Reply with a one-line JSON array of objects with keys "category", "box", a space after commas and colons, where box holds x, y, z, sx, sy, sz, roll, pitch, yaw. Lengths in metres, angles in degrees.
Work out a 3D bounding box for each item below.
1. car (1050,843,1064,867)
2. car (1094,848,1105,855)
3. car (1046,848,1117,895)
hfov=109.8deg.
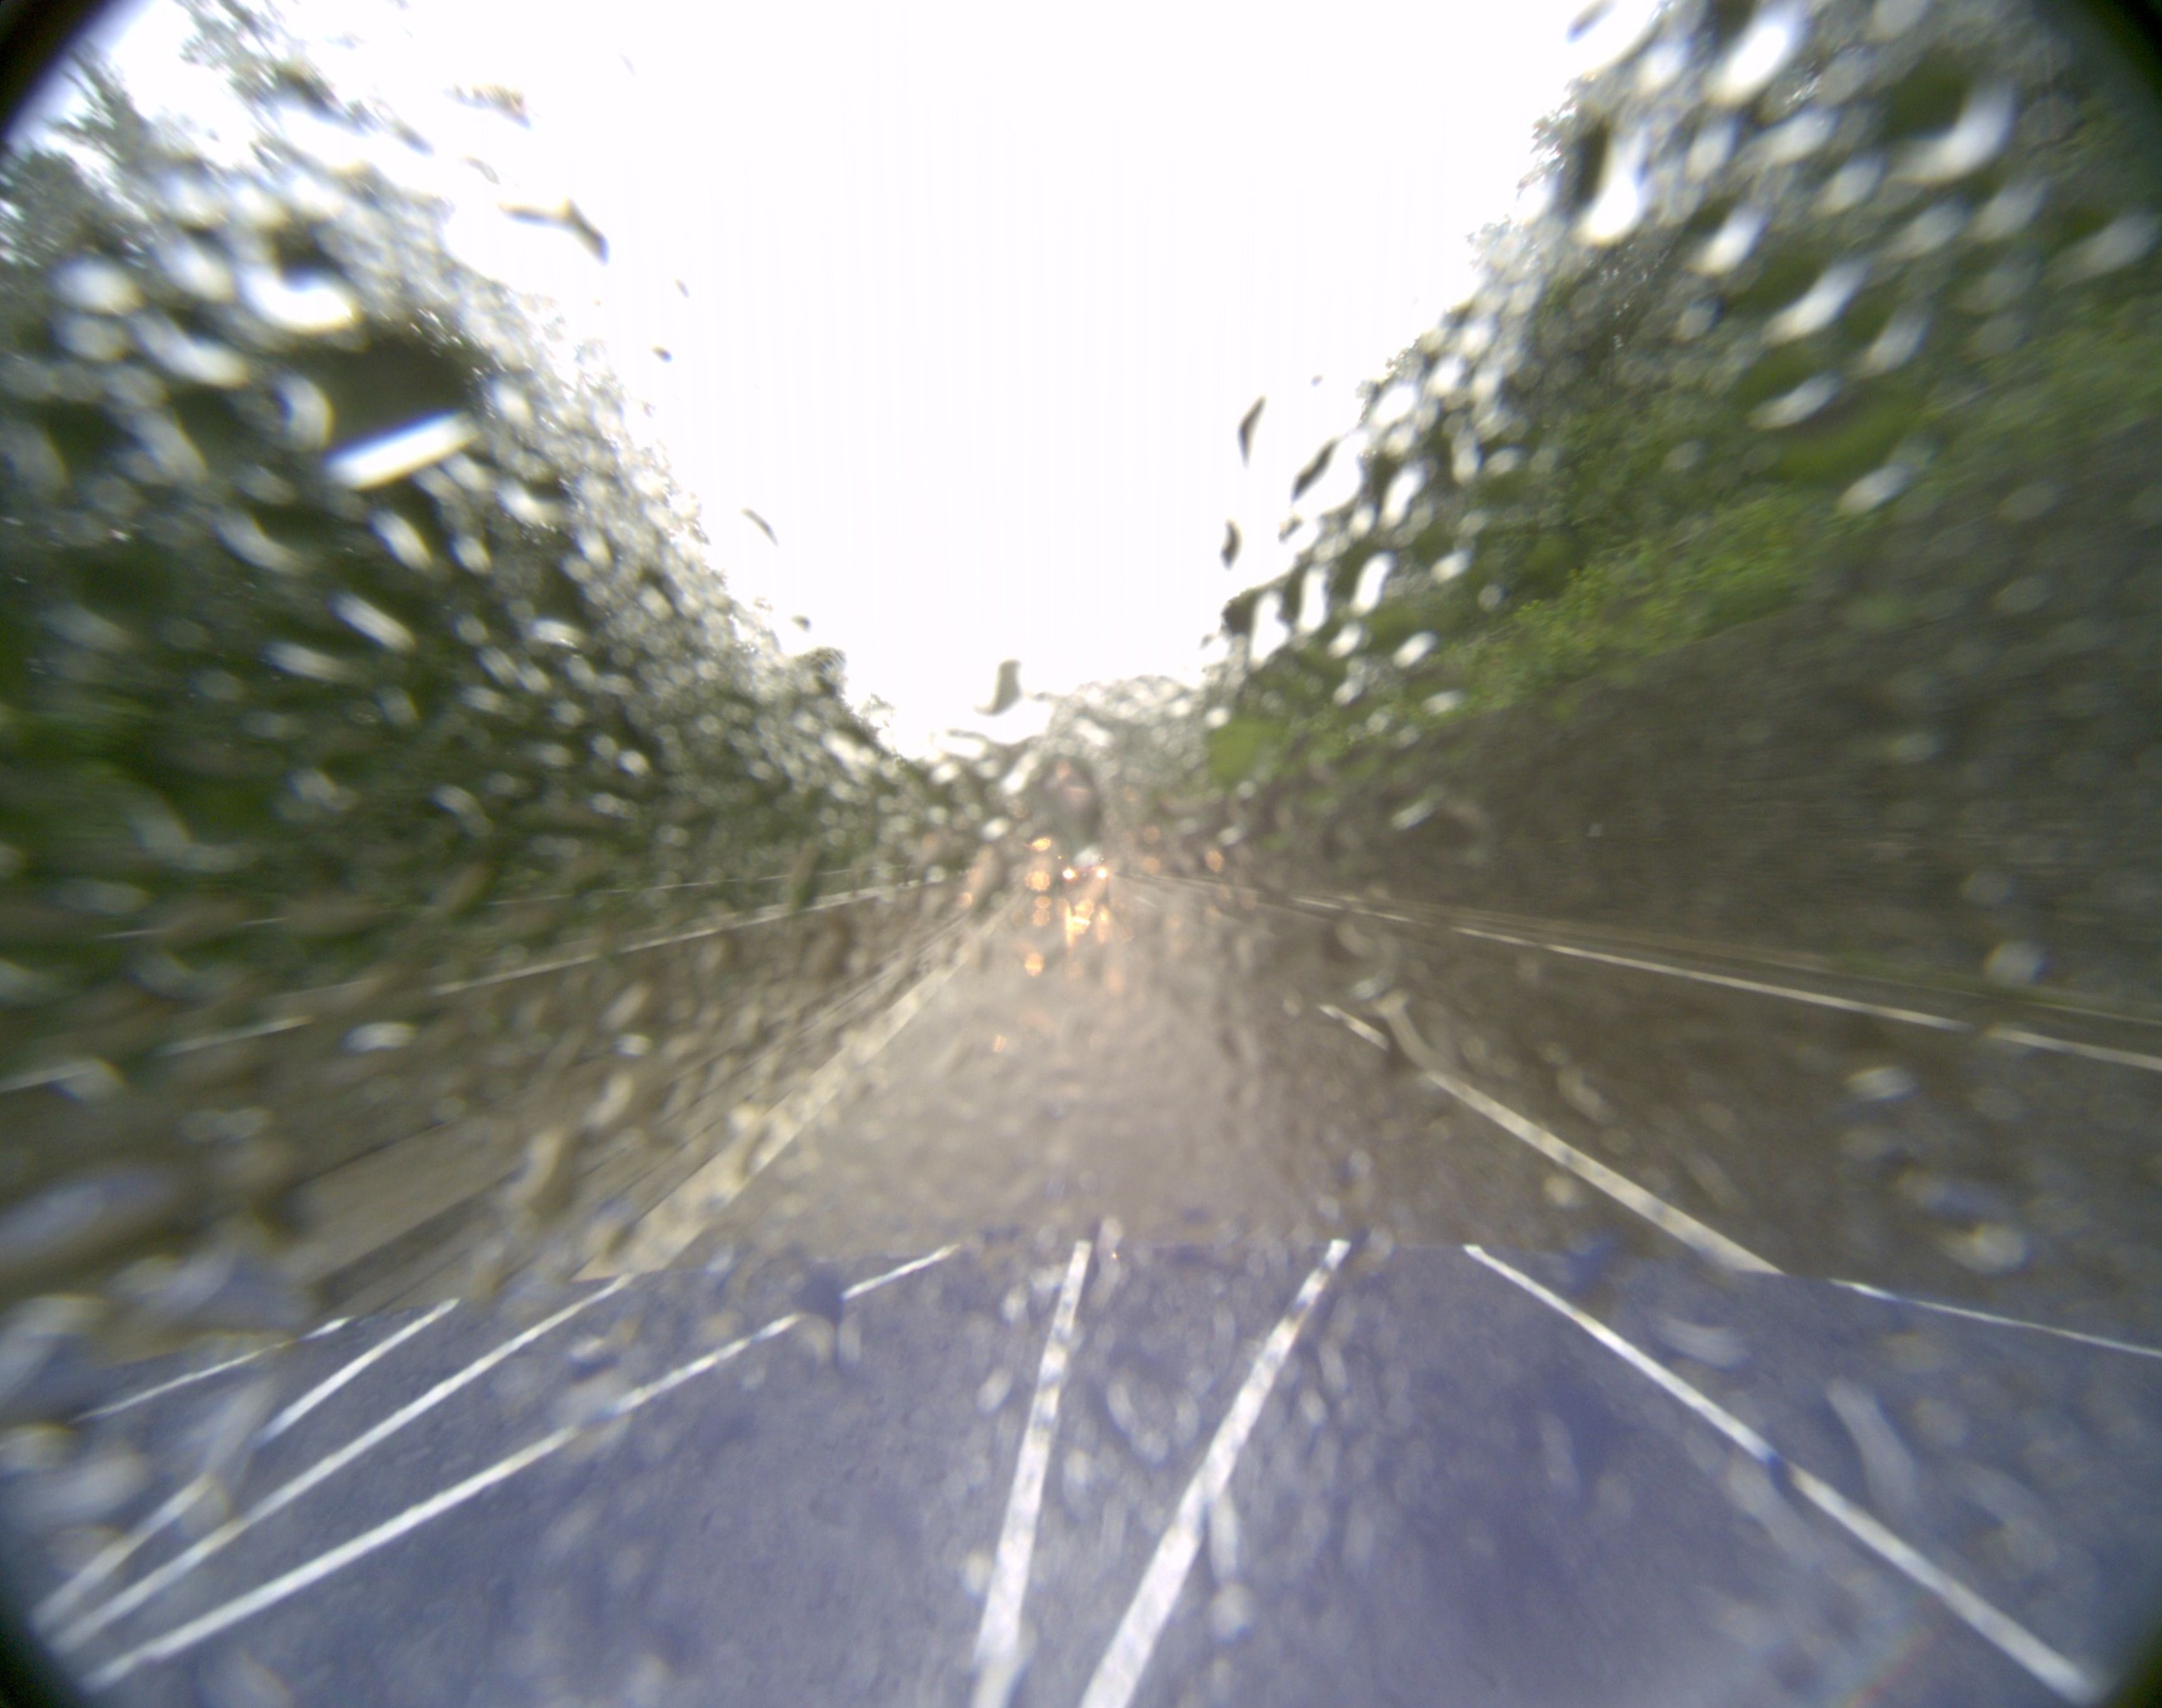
[{"category": "car", "box": [-3.247, 0.092, 101.211, 1.742, 3.008, 3.998, 2, 1, -3]}, {"category": "car", "box": [4.283, -0.487, 174.474, 1.773, 1.465, 4.002, -2, 1, 9]}, {"category": "car", "box": [-0.077, 0.575, 28.401, 2.360, 1.549, 5.497, -1, 0, -2]}]
